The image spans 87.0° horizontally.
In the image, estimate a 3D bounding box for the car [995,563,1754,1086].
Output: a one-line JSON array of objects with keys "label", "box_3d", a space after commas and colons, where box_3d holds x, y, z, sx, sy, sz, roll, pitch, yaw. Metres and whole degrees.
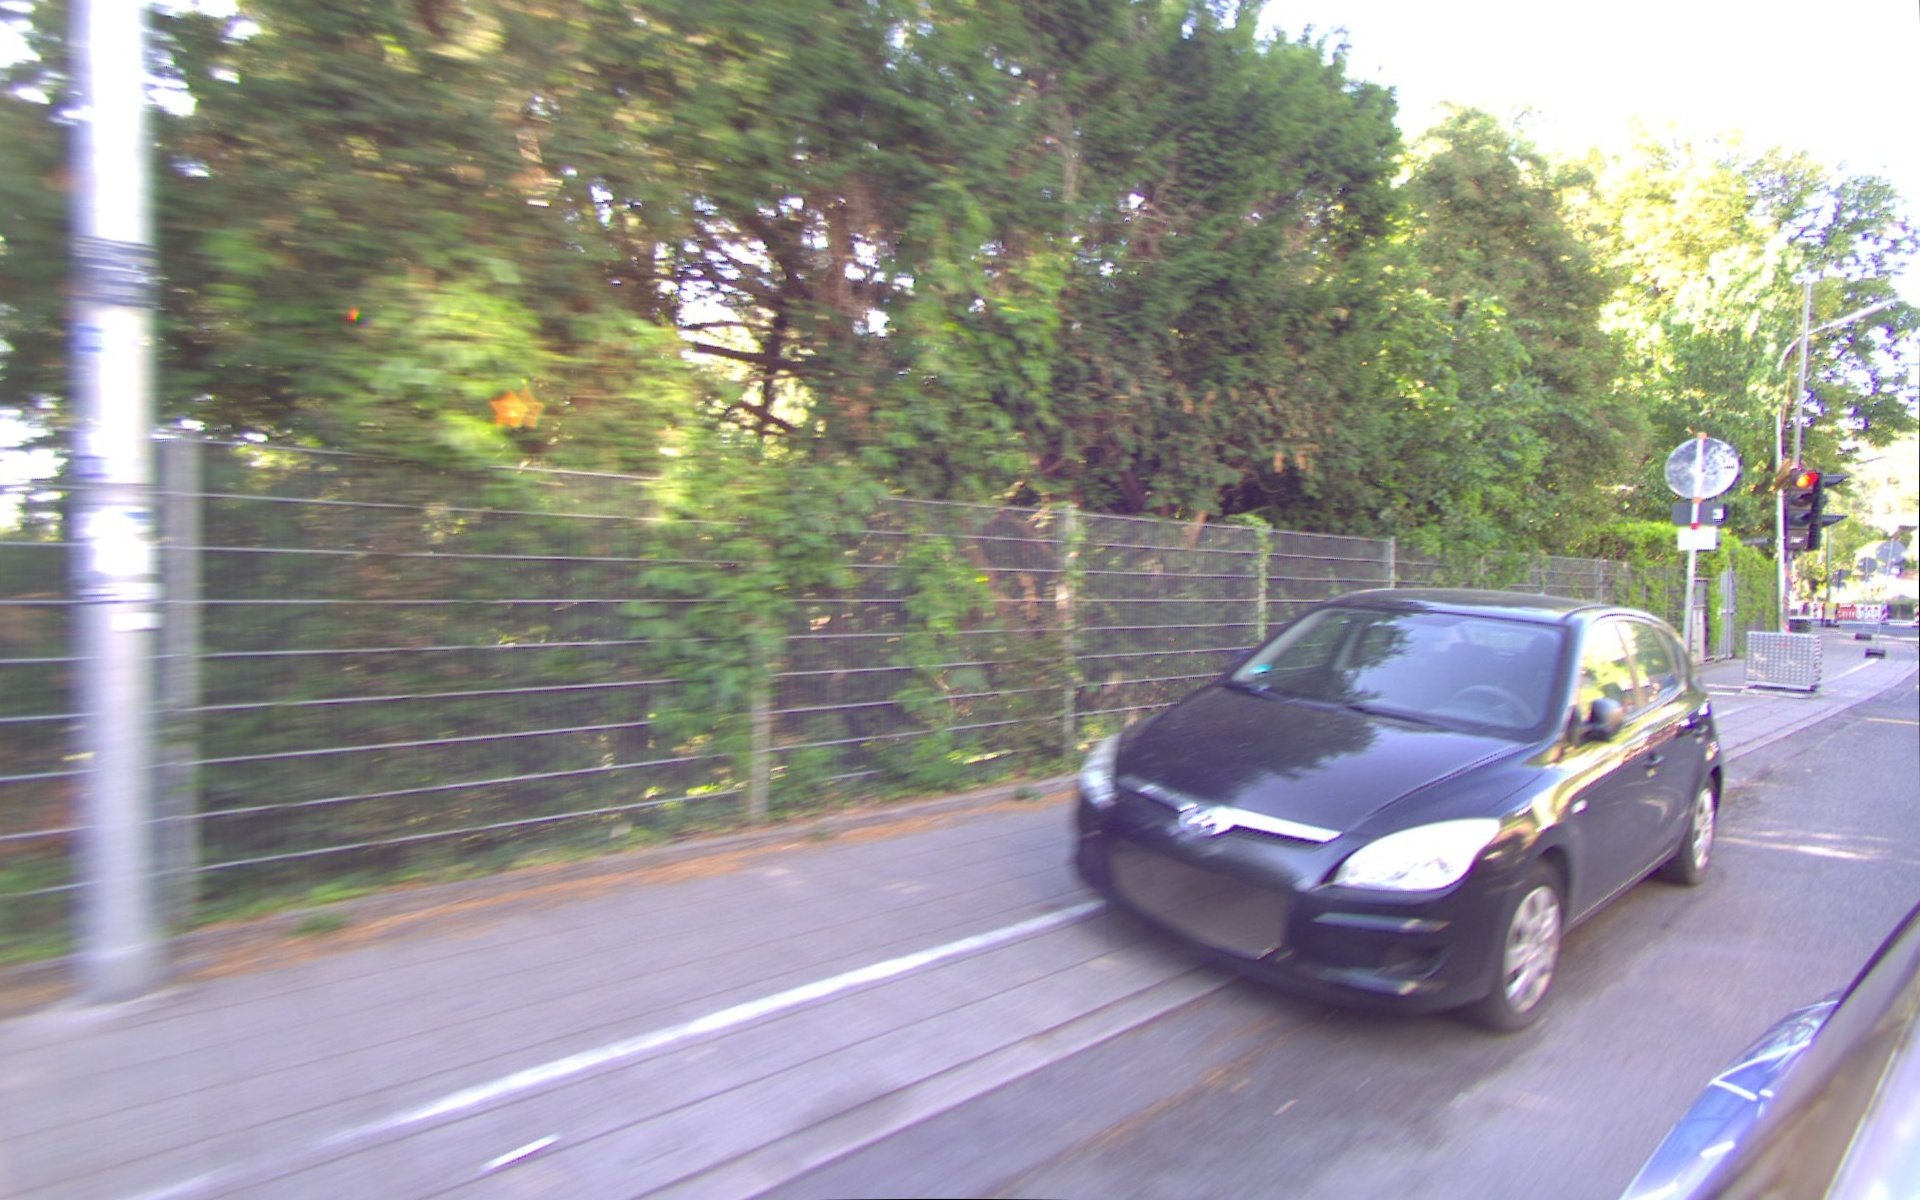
[{"label": "car", "box_3d": [2.205, 0.594, 4.812, 3.931, 1.458, 1.797, 0, 2, -42]}]
